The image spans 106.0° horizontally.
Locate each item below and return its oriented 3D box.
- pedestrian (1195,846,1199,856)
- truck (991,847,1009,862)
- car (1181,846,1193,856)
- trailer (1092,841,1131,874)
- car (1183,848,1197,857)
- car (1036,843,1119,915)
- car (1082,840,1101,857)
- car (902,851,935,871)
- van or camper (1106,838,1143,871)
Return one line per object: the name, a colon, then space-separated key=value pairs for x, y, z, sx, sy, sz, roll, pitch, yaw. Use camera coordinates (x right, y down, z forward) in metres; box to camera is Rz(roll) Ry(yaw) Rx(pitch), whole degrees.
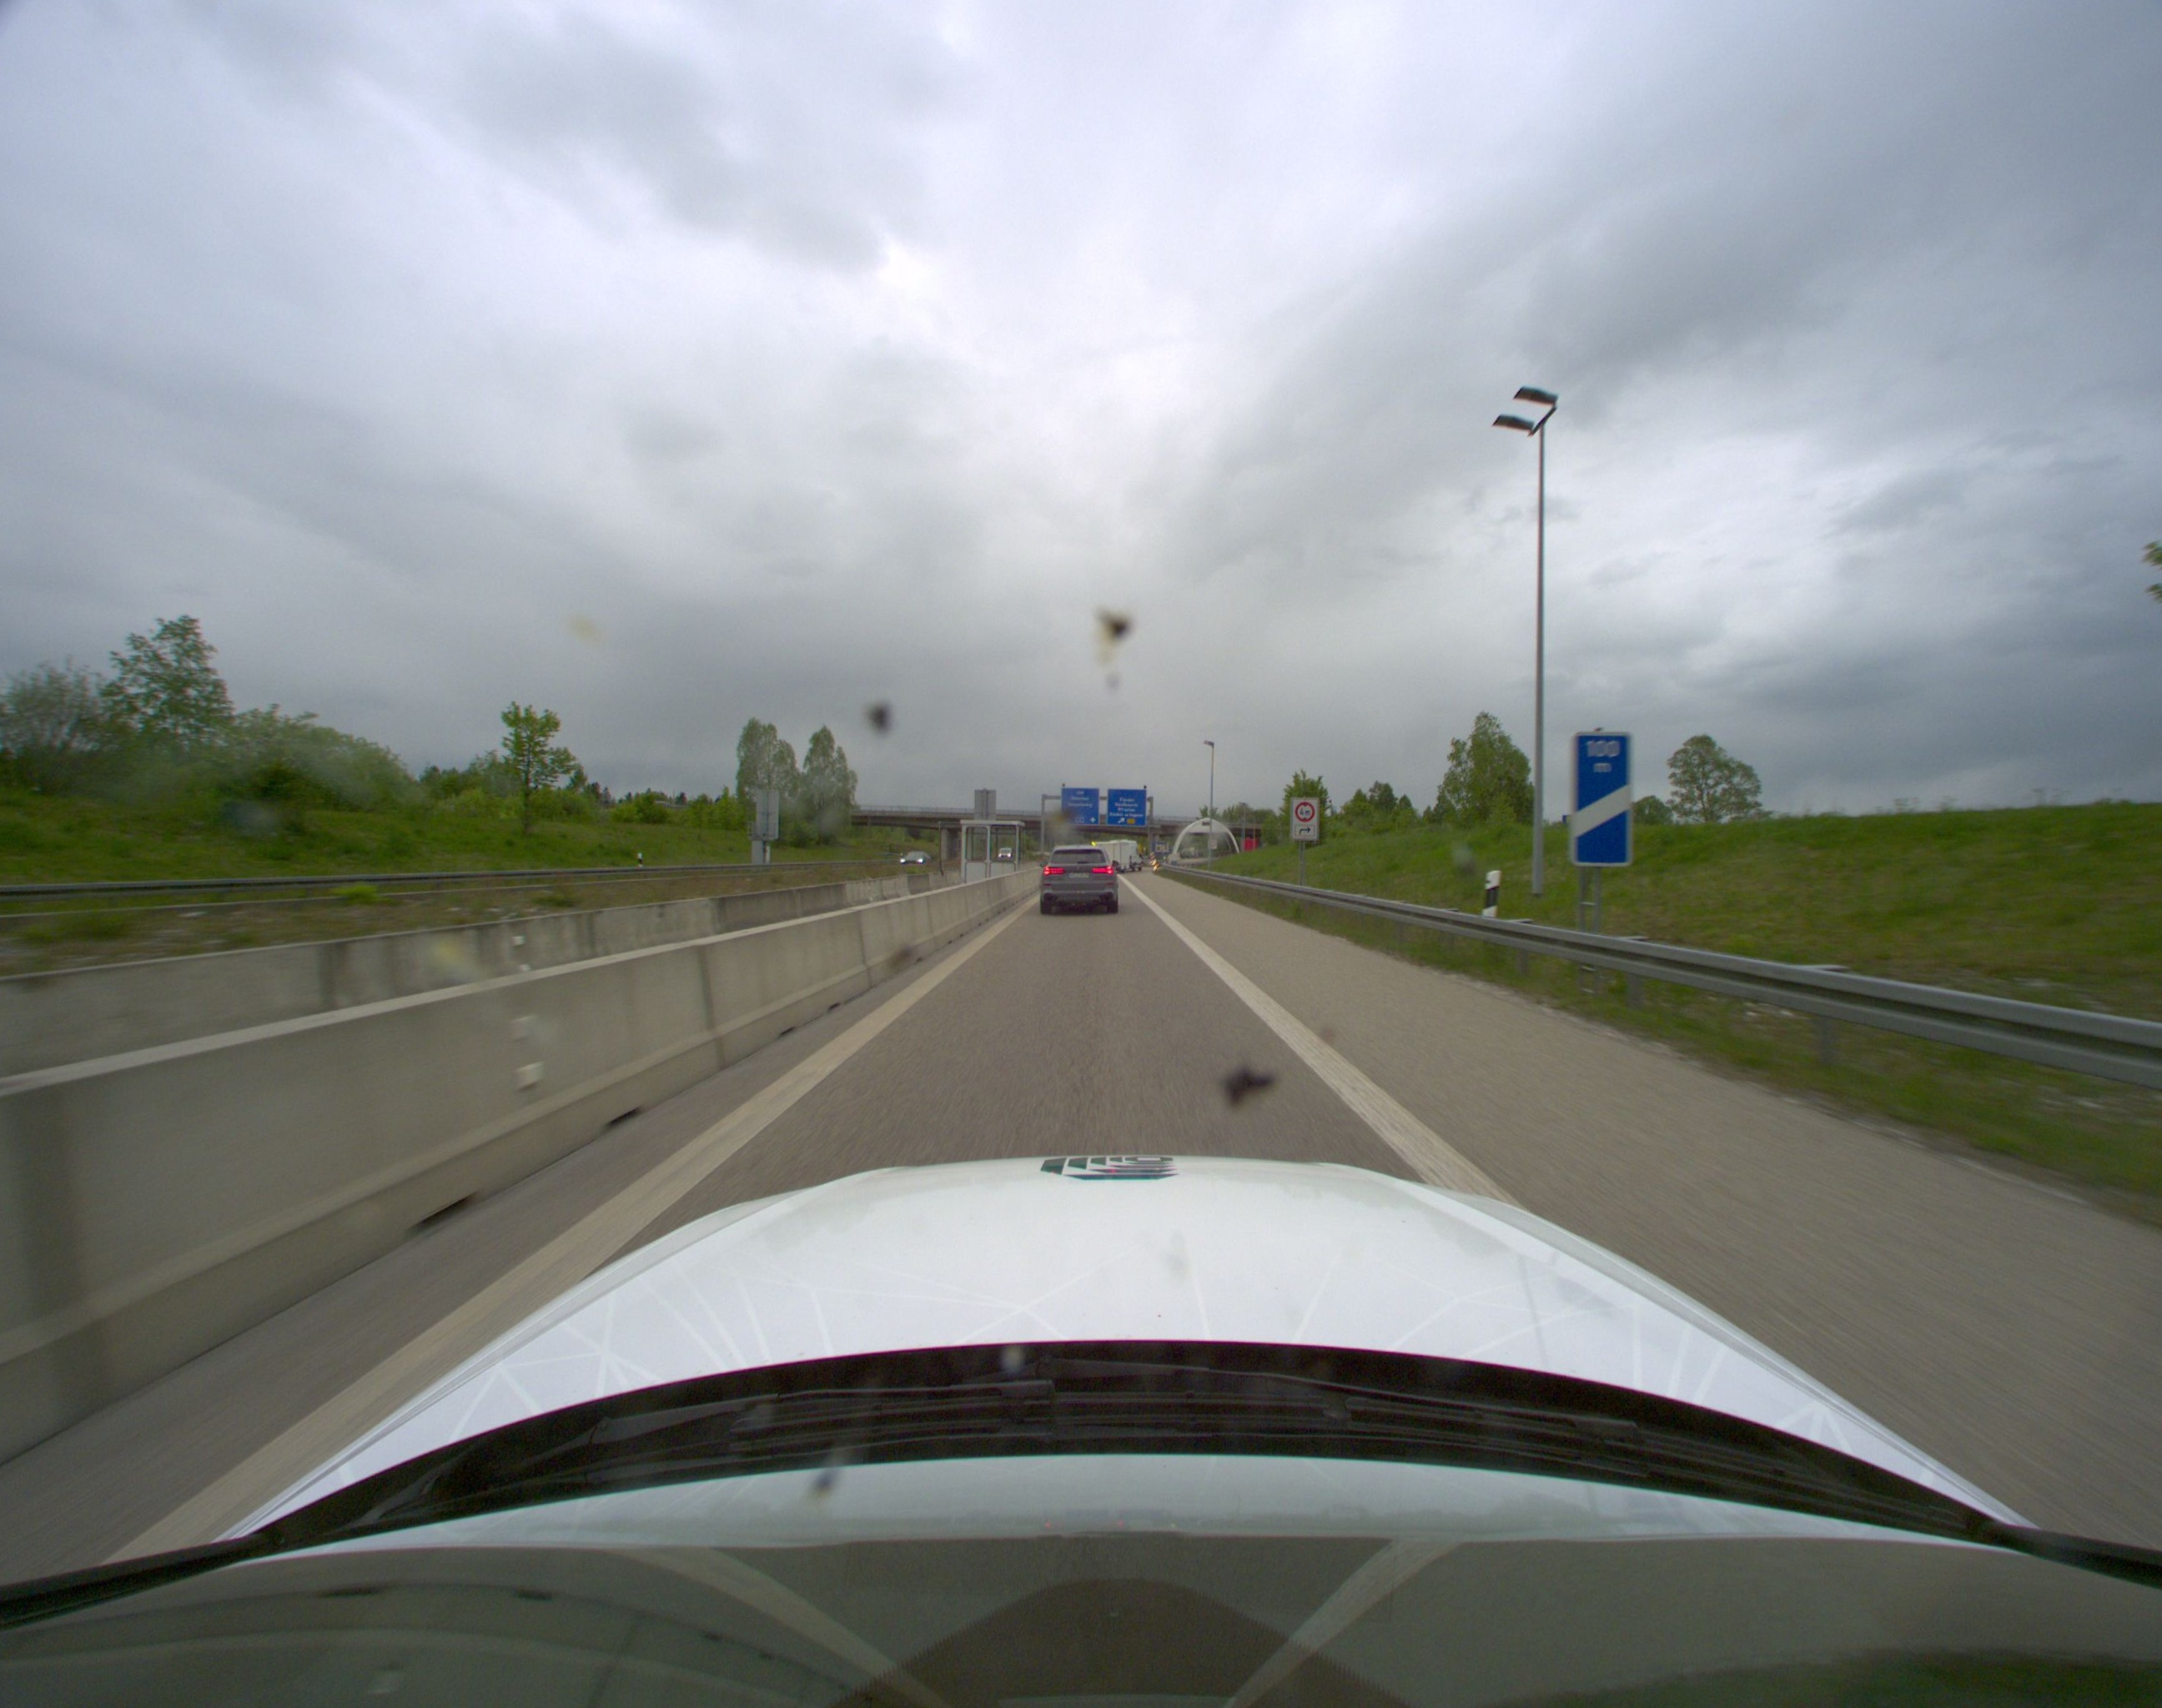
pedestrian: x=21.189 y=-0.557 z=149.120 sx=0.645 sy=1.775 sz=0.606 roll=-1 pitch=0 yaw=3
truck: x=-13.459 y=0.077 z=135.922 sx=2.349 sy=2.479 sz=5.988 roll=0 pitch=0 yaw=1
car: x=19.008 y=-0.548 z=145.985 sx=1.984 sy=1.772 sz=3.771 roll=-1 pitch=0 yaw=5
trailer: x=2.515 y=0.277 z=65.112 sx=2.265 sy=2.430 sz=6.834 roll=-1 pitch=0 yaw=9
car: x=25.033 y=-0.316 z=187.471 sx=1.996 sy=2.013 sz=3.981 roll=-1 pitch=0 yaw=-14
car: x=-0.039 y=0.600 z=21.710 sx=1.986 sy=1.719 sz=4.001 roll=-1 pitch=0 yaw=1
car: x=1.243 y=-0.727 z=99.935 sx=2.279 sy=2.013 sz=5.049 roll=0 pitch=1 yaw=0
car: x=-12.989 y=0.567 z=65.453 sx=1.696 sy=1.575 sz=4.178 roll=0 pitch=0 yaw=1
van or camper: x=3.844 y=0.037 z=71.401 sx=2.141 sy=2.763 sz=5.893 roll=-1 pitch=-1 yaw=14
